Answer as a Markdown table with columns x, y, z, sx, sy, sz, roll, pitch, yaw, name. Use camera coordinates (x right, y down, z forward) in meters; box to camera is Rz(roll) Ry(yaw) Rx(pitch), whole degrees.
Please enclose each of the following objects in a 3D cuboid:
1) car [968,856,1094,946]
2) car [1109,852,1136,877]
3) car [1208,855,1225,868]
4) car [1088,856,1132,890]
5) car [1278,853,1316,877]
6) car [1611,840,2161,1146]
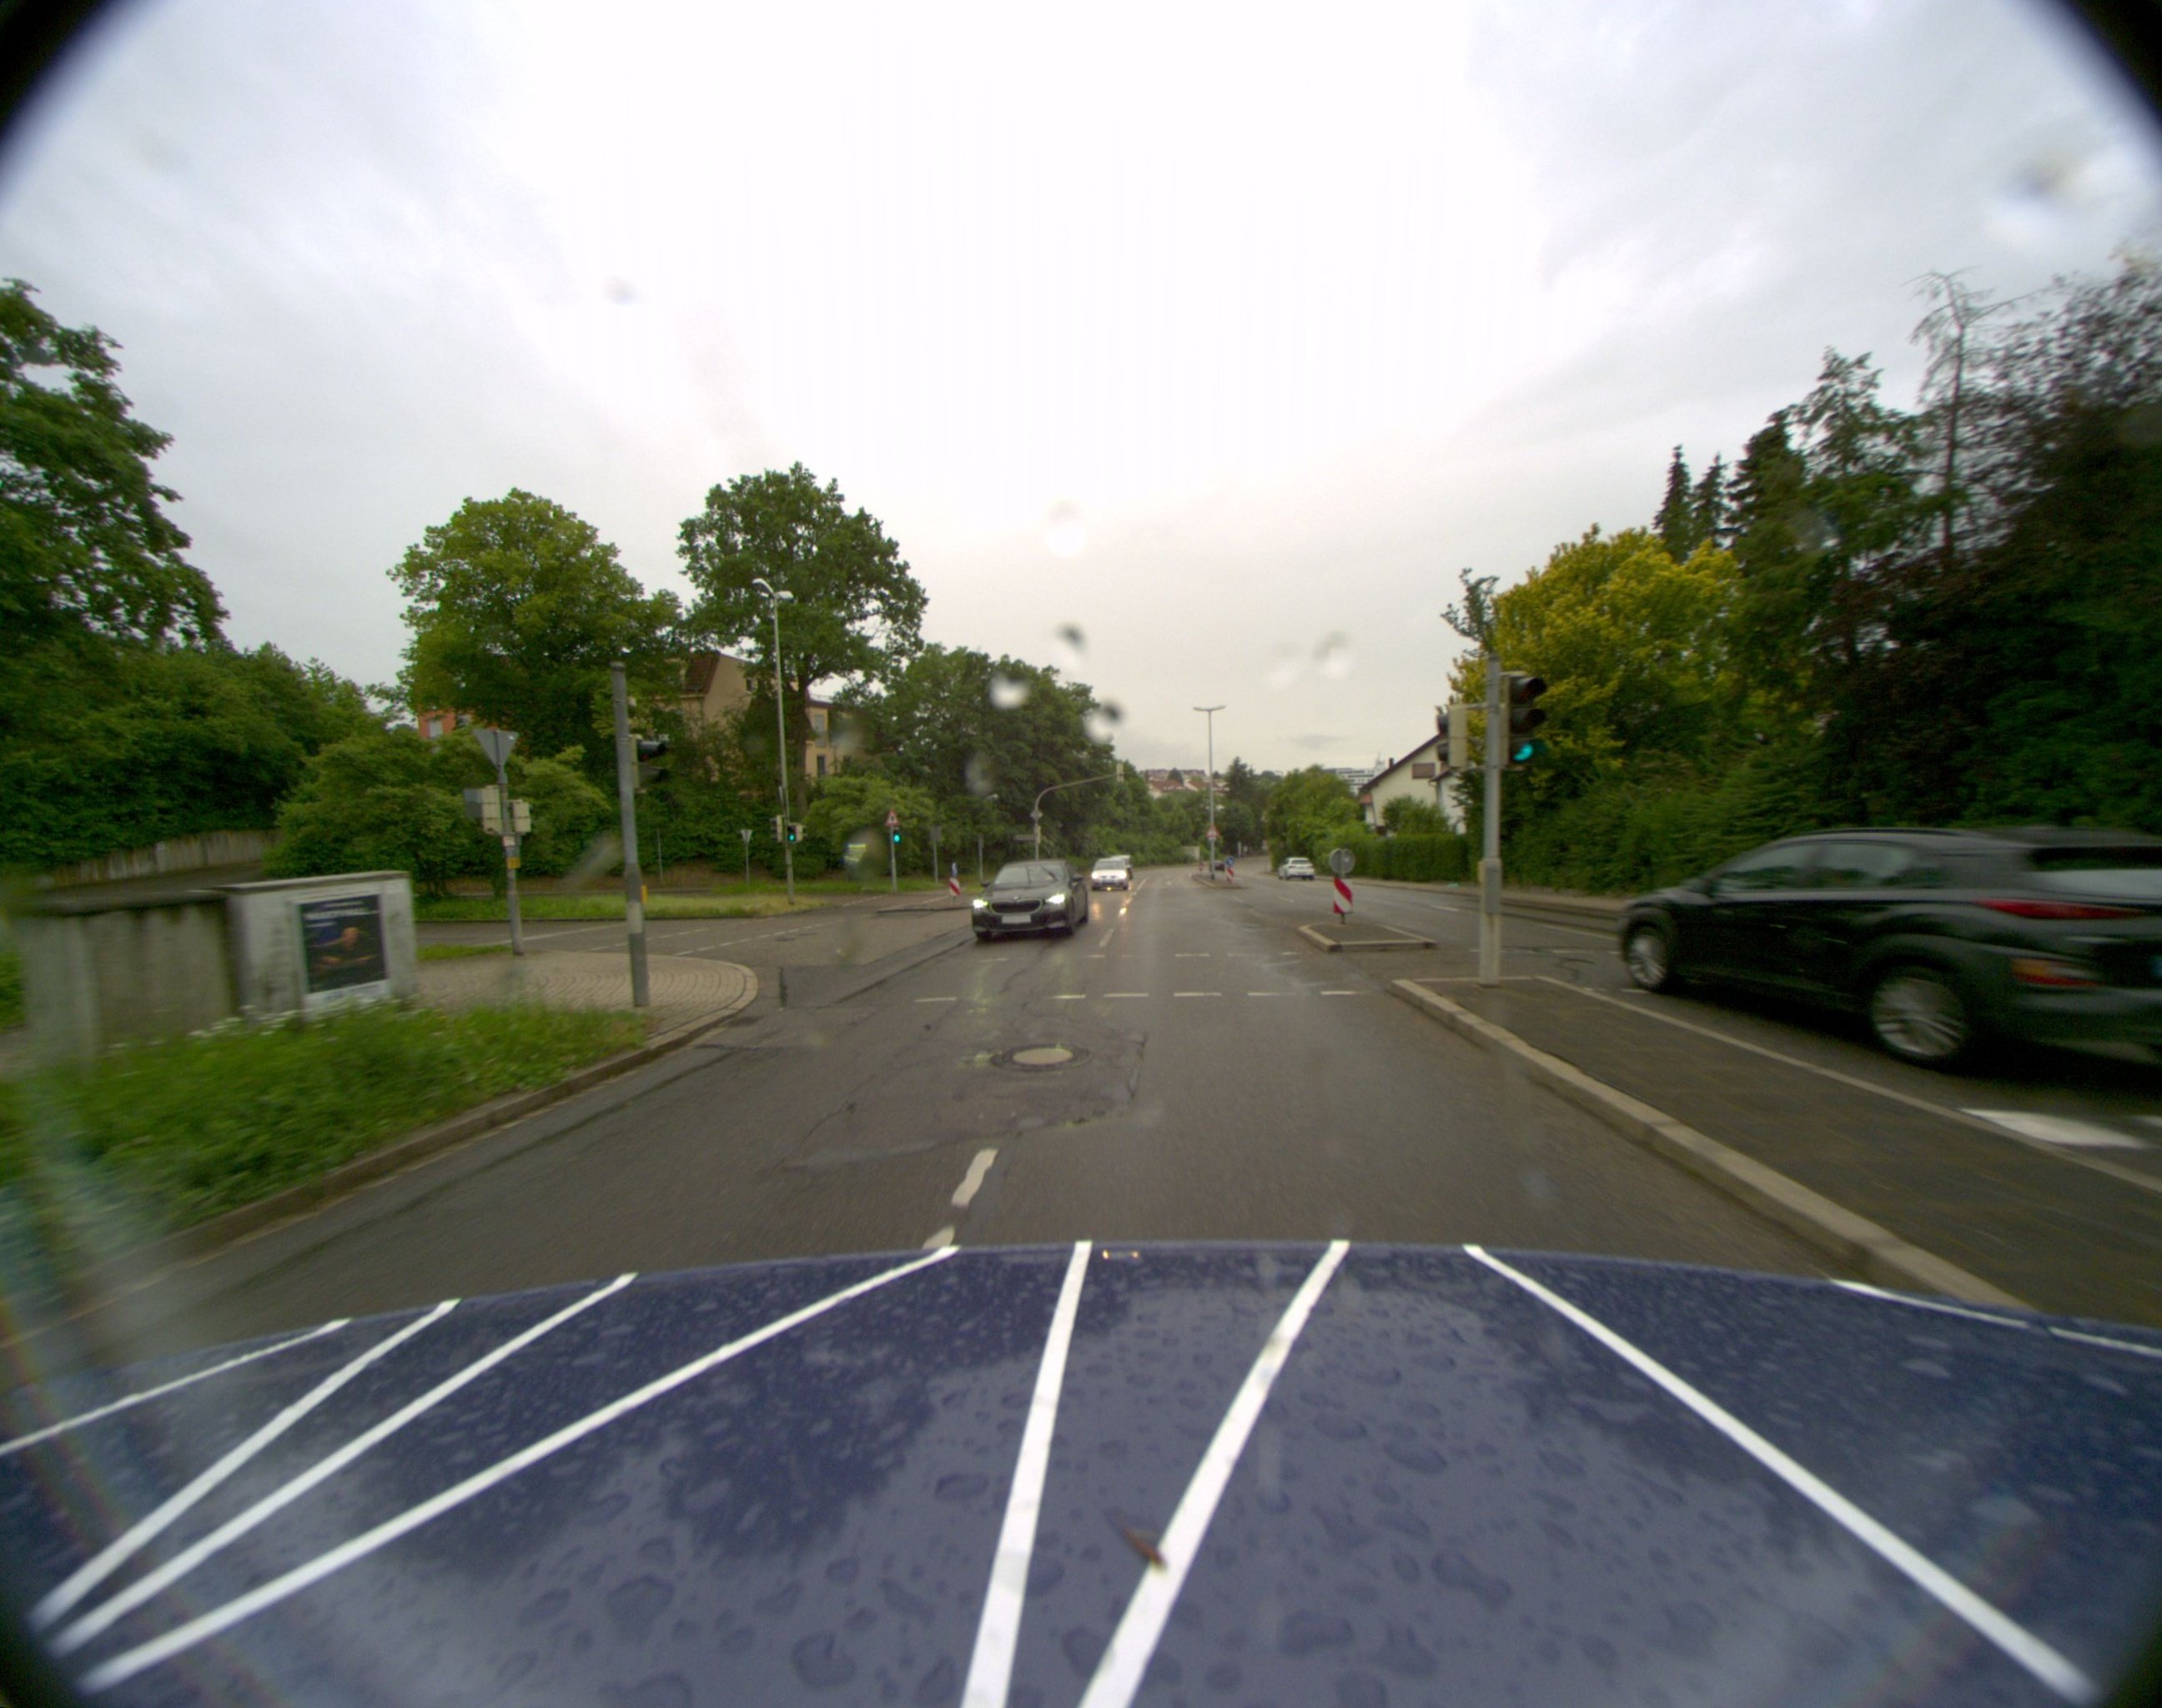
| x | y | z | sx | sy | sz | roll | pitch | yaw | name |
| --- | --- | --- | --- | --- | --- | --- | --- | --- | --- |
| -0.876 | 0.854 | 15.758 | 1.866 | 1.547 | 4.121 | 0 | 1 | 7 | car |
| 3.144 | 0.753 | 57.408 | 1.813 | 1.797 | 4.121 | 0 | 0 | 6 | car |
| 15.859 | 0.917 | 88.656 | 1.866 | 1.484 | 3.837 | 0 | 0 | 12 | car |
| 1.453 | 0.874 | 37.054 | 1.813 | 1.546 | 4.121 | 0 | 0 | 7 | car |
| 14.084 | 0.719 | 49.734 | 1.731 | 1.476 | 4.158 | 1 | 0 | 6 | car |
| 6.232 | 0.690 | 5.723 | 2.029 | 1.554 | 3.878 | 0 | 1 | 6 | car |
